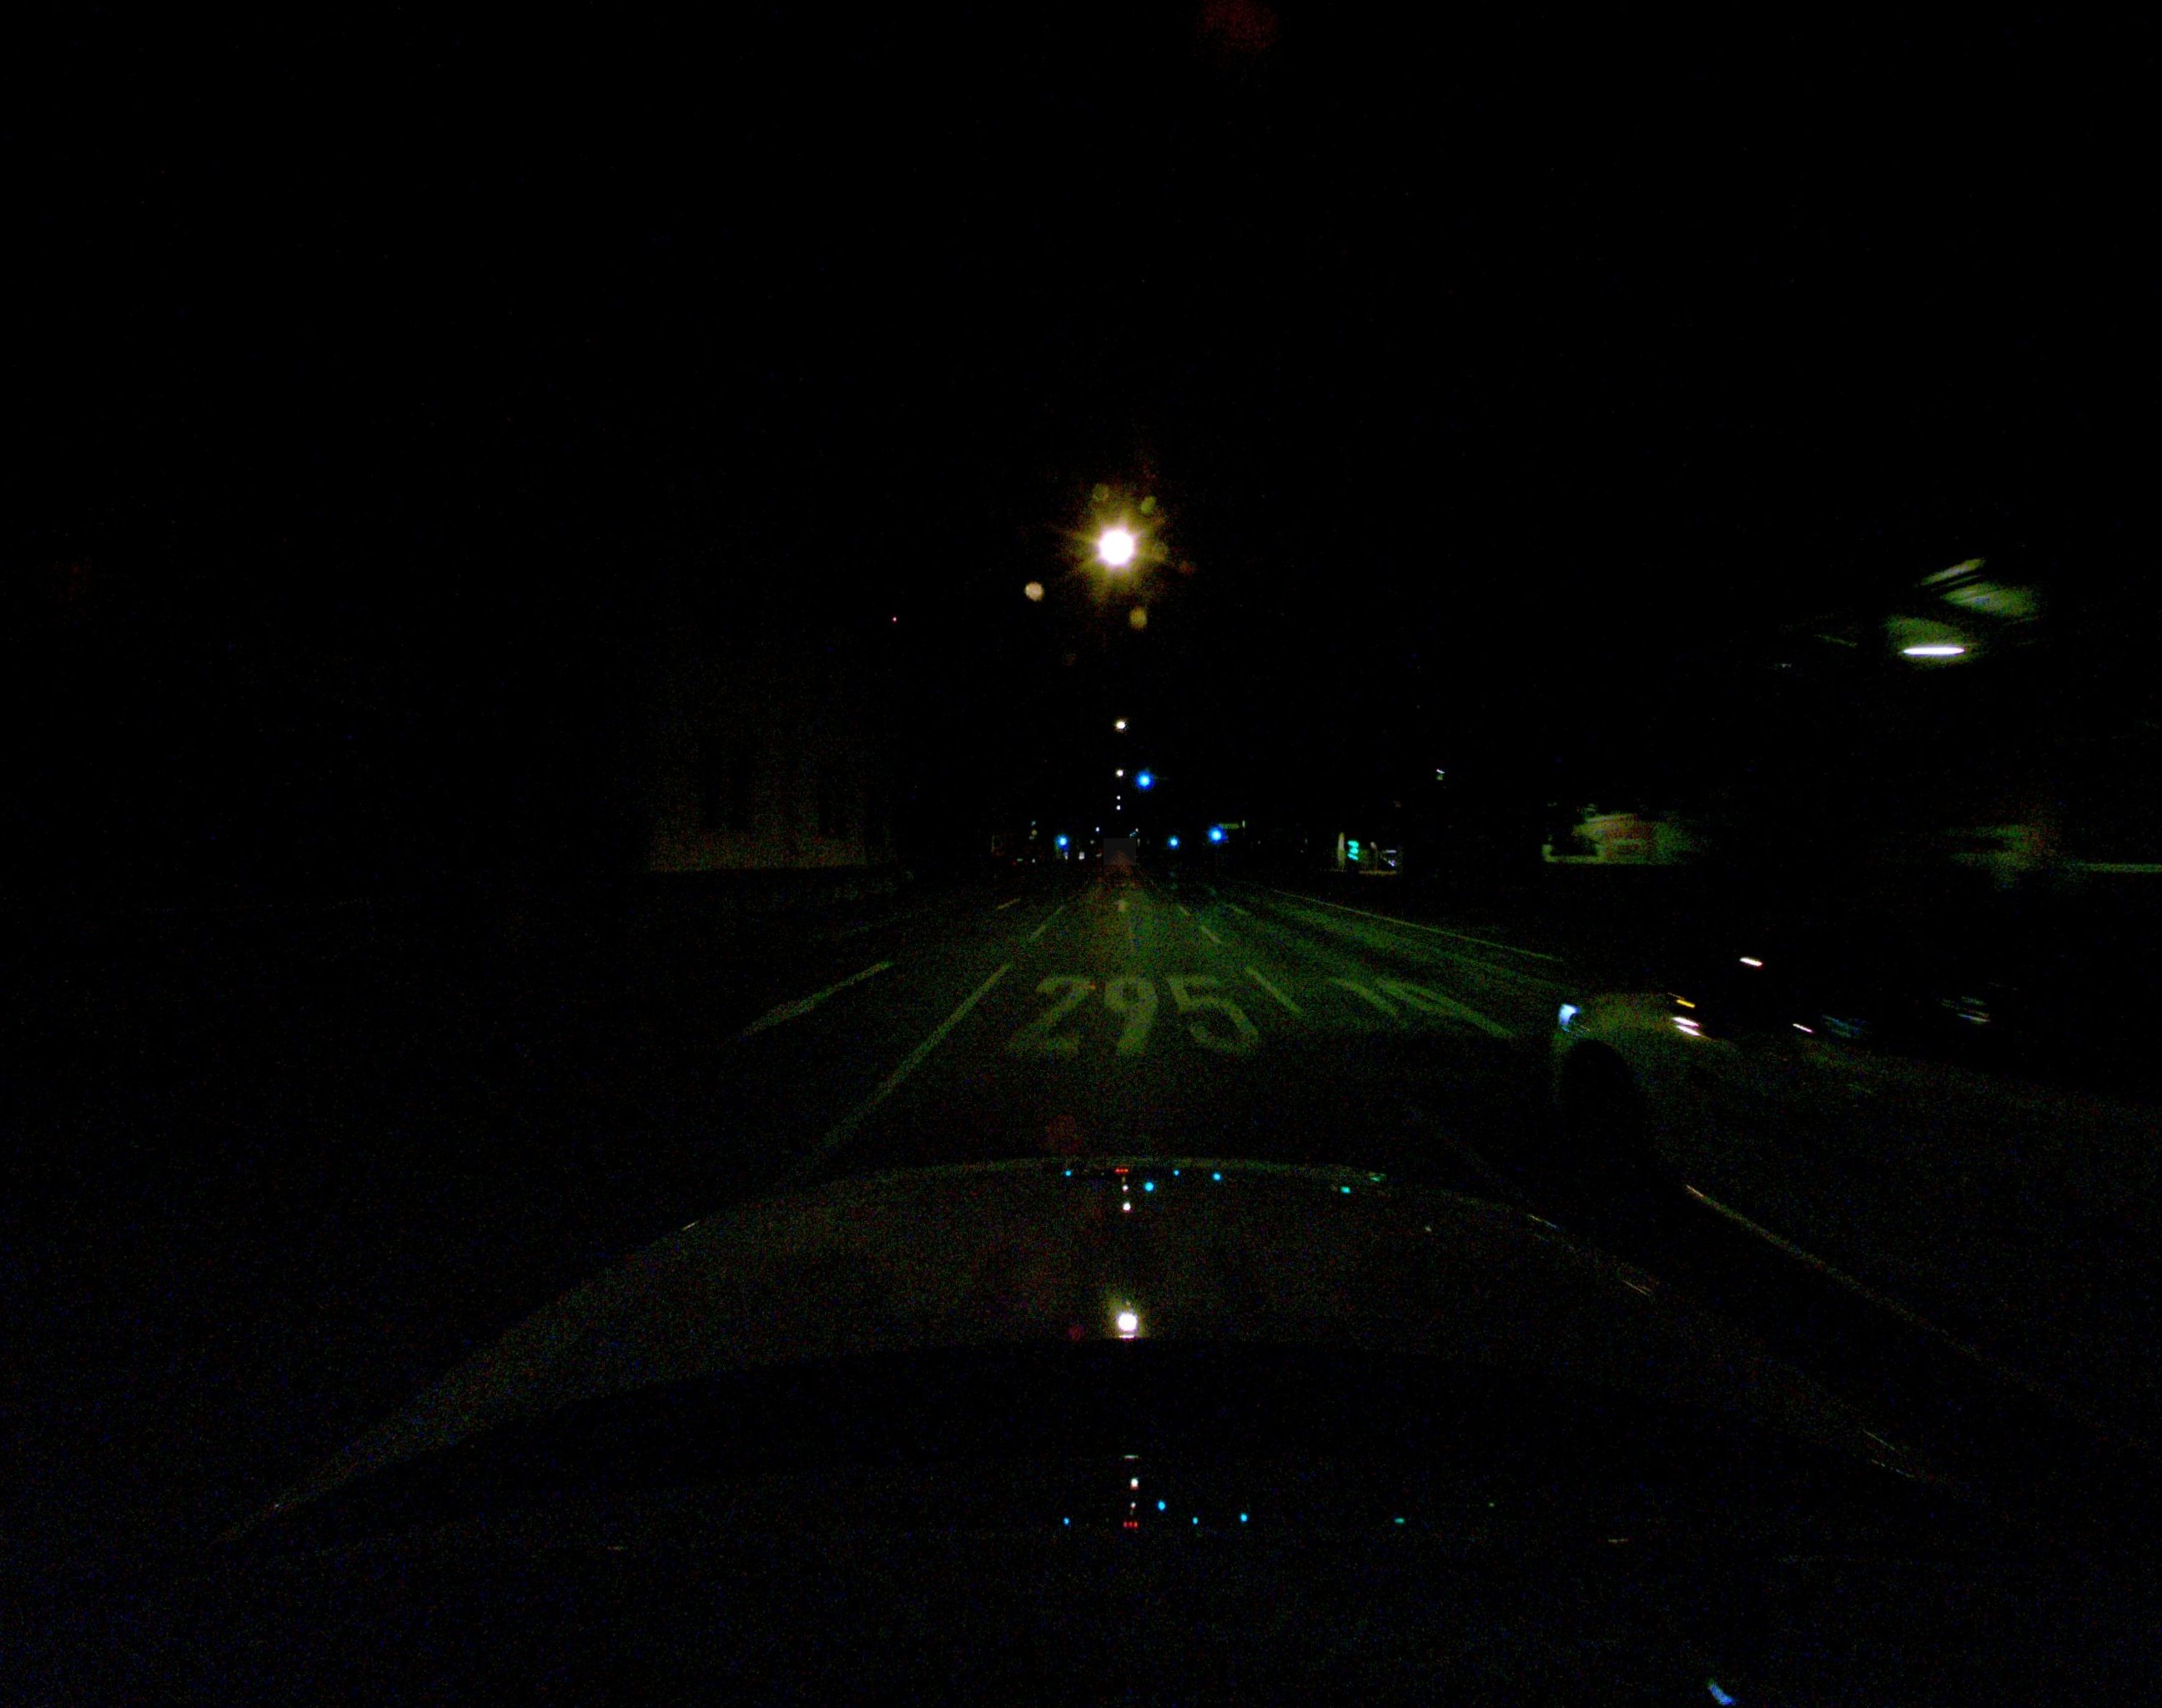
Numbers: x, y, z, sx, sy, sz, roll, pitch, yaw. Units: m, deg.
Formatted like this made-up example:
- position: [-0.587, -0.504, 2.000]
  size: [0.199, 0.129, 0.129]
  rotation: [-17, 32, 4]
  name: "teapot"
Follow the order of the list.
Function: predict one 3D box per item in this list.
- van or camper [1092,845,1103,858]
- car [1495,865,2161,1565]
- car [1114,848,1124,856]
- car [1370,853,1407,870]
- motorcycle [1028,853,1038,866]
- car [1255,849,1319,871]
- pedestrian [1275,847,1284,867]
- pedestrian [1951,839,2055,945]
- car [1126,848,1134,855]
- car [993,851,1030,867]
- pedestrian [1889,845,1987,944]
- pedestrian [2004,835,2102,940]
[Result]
- position: [3.502, -0.474, 174.583]
  size: [2.150, 2.535, 6.230]
  rotation: [-2, 0, 2]
  name: "van or camper"
- position: [3.201, 0.806, 2.524]
  size: [1.717, 1.430, 4.501]
  rotation: [1, 0, 3]
  name: "car"
- position: [7.064, -0.373, 150.717]
  size: [1.657, 1.342, 3.626]
  rotation: [0, 0, 1]
  name: "car"
- position: [22.139, 0.545, 58.680]
  size: [1.452, 1.168, 3.541]
  rotation: [0, 0, 2]
  name: "car"
- position: [-4.535, 0.515, 76.390]
  size: [0.572, 1.179, 2.022]
  rotation: [0, 0, -14]
  name: "motorcycle"
- position: [14.422, 0.409, 57.099]
  size: [4.066, 1.454, 1.787]
  rotation: [0, 0, 1]
  name: "car"
- position: [17.735, 0.271, 72.855]
  size: [0.619, 1.811, 0.760]
  rotation: [0, 0, 3]
  name: "pedestrian"
- position: [16.078, 0.646, 14.231]
  size: [0.716, 1.788, 0.970]
  rotation: [0, 0, 3]
  name: "pedestrian"
- position: [11.132, -0.618, 184.715]
  size: [1.875, 1.603, 4.112]
  rotation: [-2, 0, 4]
  name: "car"
- position: [-6.831, 0.489, 79.796]
  size: [1.898, 1.424, 4.686]
  rotation: [-1, 0, -29]
  name: "car"
- position: [15.329, 0.697, 14.594]
  size: [0.732, 1.717, 0.986]
  rotation: [0, 0, 3]
  name: "pedestrian"
- position: [17.361, 0.583, 14.571]
  size: [0.671, 1.817, 0.907]
  rotation: [0, 0, 3]
  name: "pedestrian"
